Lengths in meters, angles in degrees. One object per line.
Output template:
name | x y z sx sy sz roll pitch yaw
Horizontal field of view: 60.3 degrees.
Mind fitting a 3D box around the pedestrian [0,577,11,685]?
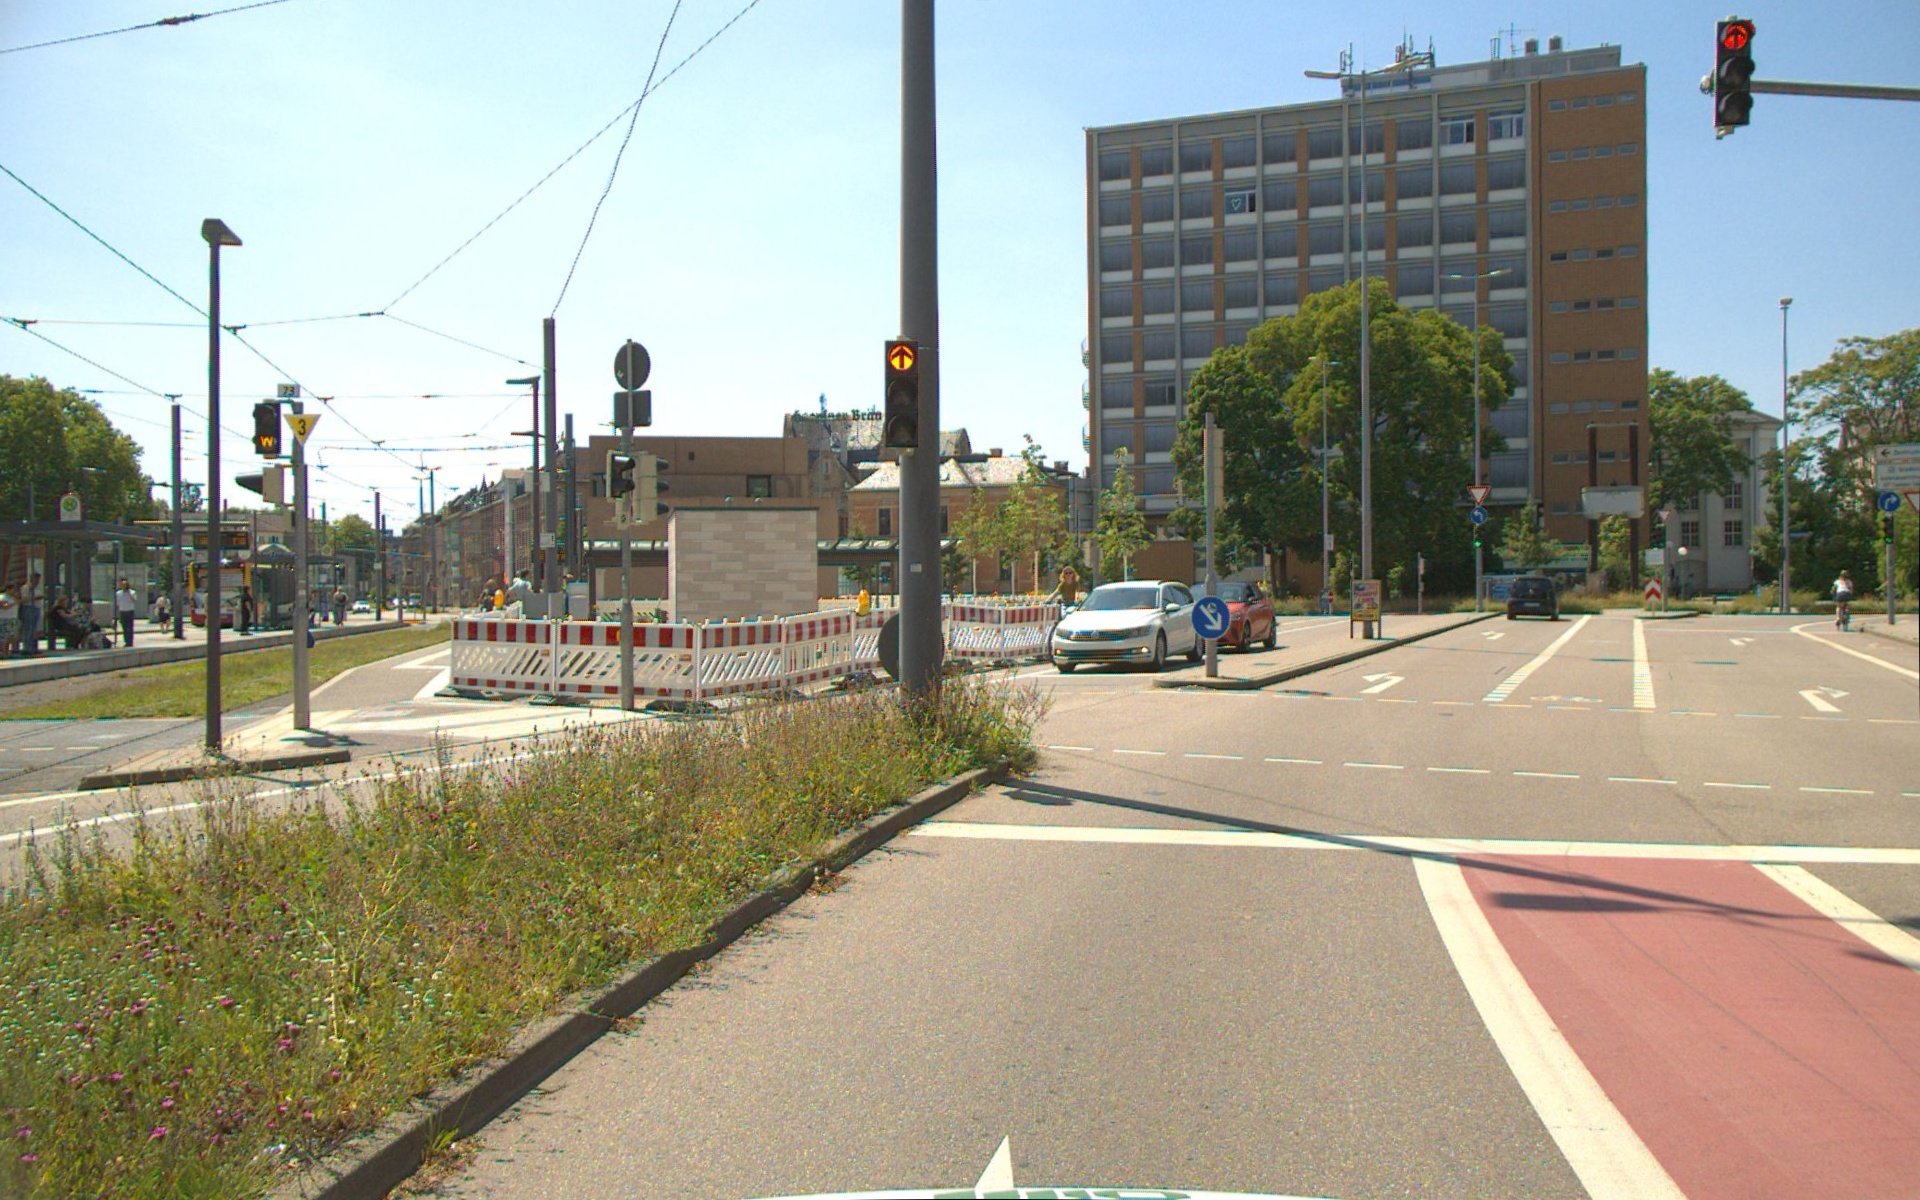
pedestrian | -17.526 0.560 29.773 0.663 1.943 0.636 -1 0 -22

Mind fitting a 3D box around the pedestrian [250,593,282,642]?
pedestrian | -26.784 0.673 63.857 0.963 1.867 0.767 -1 0 -37

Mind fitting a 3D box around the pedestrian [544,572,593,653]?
pedestrian | -9.172 0.283 38.747 0.965 1.864 0.628 -1 0 -27

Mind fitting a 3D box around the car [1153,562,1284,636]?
car | 5.540 -0.023 35.052 1.696 1.450 4.121 -1 0 24

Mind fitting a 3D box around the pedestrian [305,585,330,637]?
pedestrian | -26.711 0.467 68.801 0.814 2.133 0.899 -1 0 -13

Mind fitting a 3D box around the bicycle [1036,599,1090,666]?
bicycle | 1.947 0.595 31.145 0.390 1.194 1.769 -1 0 25

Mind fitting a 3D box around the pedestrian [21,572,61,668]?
pedestrian | -20.649 0.438 37.177 0.690 2.133 0.640 -1 0 -24

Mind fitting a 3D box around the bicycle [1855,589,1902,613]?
bicycle | 44.778 0.064 80.644 1.972 1.155 0.572 -1 -1 35

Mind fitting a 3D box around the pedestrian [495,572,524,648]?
pedestrian | -11.776 0.258 43.238 0.707 1.957 1.069 0 -1 -17

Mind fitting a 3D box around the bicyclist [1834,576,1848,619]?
bicyclist | 25.458 -0.078 47.790 0.345 1.249 0.563 -1 0 28

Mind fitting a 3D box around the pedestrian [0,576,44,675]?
pedestrian | -19.642 0.521 34.354 0.928 2.025 1.022 -1 0 -22

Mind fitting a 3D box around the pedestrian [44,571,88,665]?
pedestrian | -20.695 0.406 38.301 0.813 2.133 0.637 -1 0 -24

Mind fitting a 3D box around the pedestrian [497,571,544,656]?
pedestrian | -9.998 0.305 37.631 0.716 1.897 0.764 -1 -1 37

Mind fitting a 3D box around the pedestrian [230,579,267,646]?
pedestrian | -23.065 0.406 53.626 0.882 2.133 0.830 -1 0 -8

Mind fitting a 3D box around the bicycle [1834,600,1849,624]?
bicycle | 25.473 0.350 47.793 0.370 0.657 1.642 -1 0 28

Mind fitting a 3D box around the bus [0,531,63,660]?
bus | -24.525 -0.076 36.766 2.957 3.213 17.448 -1 0 -11

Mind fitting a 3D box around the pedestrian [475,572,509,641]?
pedestrian | -11.842 0.169 41.854 0.717 1.736 0.737 0 -1 -27

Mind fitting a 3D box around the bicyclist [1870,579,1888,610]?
bicyclist | 44.801 -0.278 80.612 0.672 1.514 0.782 -1 -1 33

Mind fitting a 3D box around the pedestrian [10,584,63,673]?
pedestrian | -19.998 0.609 35.826 0.899 1.884 0.653 -1 0 -22

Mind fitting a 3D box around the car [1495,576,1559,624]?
car | 19.357 -0.011 56.571 1.652 1.553 3.693 -1 0 13

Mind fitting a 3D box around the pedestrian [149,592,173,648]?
pedestrian | -31.118 0.763 64.414 0.699 2.148 0.648 -1 0 -36

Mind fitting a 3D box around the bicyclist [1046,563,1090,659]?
bicyclist | 2.038 0.193 31.265 0.556 1.748 0.507 6 4 25

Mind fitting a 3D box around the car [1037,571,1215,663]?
car | 3.006 0.278 28.954 1.952 1.463 4.706 -1 0 21

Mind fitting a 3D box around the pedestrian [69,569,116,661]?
pedestrian | -20.585 0.342 39.269 0.887 2.133 0.825 -1 0 -24

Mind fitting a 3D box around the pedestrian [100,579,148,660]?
pedestrian | -22.503 0.517 44.516 0.882 2.133 0.830 -1 0 -8
